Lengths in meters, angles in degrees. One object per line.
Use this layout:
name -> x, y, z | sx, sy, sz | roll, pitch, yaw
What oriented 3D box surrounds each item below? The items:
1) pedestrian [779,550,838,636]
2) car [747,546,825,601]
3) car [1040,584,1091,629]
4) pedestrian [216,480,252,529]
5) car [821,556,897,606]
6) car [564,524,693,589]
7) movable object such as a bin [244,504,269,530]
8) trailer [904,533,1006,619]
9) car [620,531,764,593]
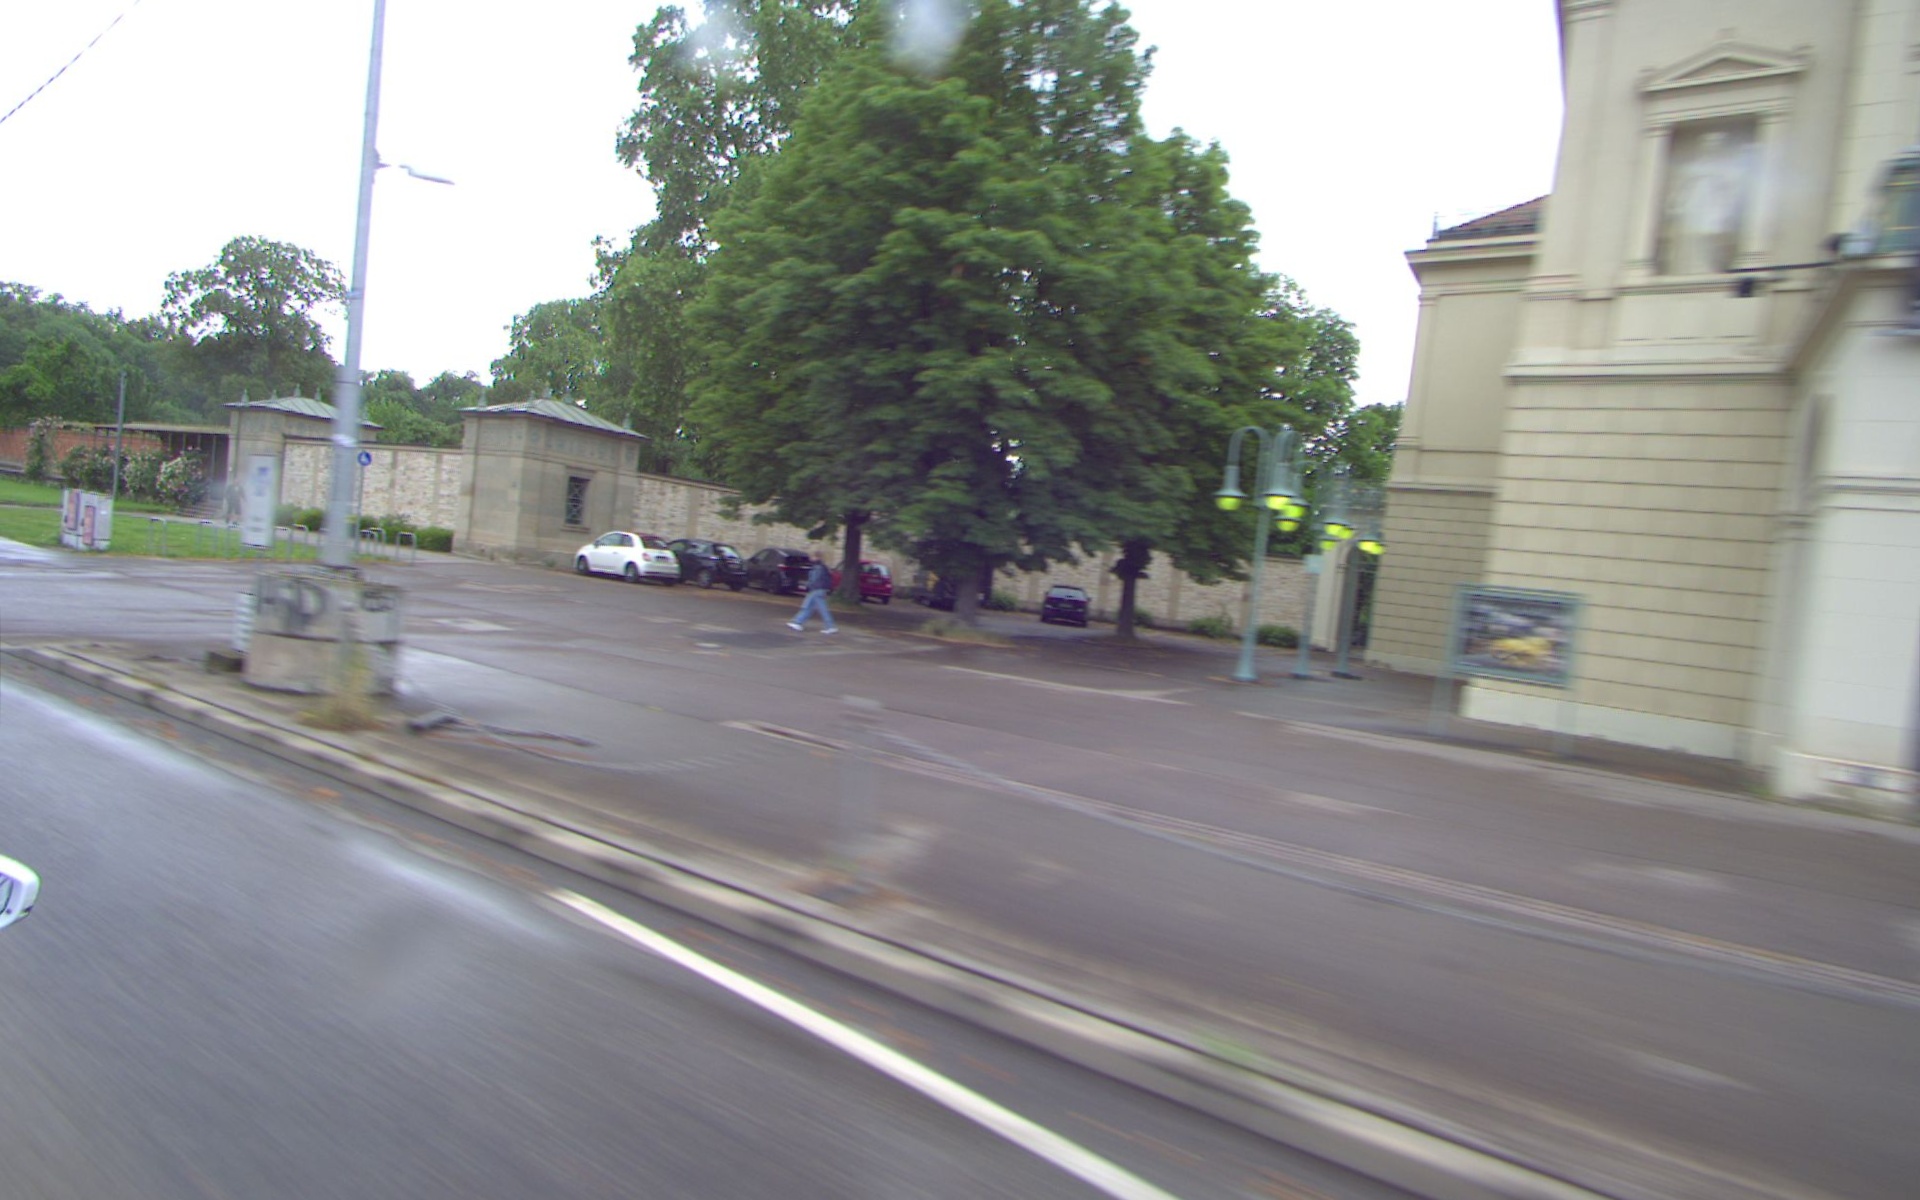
pedestrian -> -3.026, -0.138, 20.053 | 0.855, 1.613, 0.662 | 3, 4, -31
car -> -6.163, -0.970, 35.268 | 1.752, 1.548, 4.077 | 6, 2, -22
car -> 4.073, 0.194, 38.496 | 1.708, 1.426, 4.276 | 7, 2, 7
pedestrian -> -27.386, -3.596, 37.924 | 0.965, 1.733, 0.728 | 7, 3, 34
car -> -3.870, -0.757, 37.915 | 1.659, 1.461, 4.127 | 5, 2, -22
car -> -10.179, -1.338, 30.852 | 3.538, 1.474, 1.837 | 10, 4, 32
movable object such as a bin -> -26.671, -3.150, 38.122 | 1.172, 0.883, 0.342 | 7, 3, 34
trailer -> -0.313, -1.029, 38.398 | 2.115, 2.823, 5.631 | 6, 2, -17
car -> -8.743, -1.226, 32.844 | 4.111, 1.509, 1.898 | 8, 3, 21
